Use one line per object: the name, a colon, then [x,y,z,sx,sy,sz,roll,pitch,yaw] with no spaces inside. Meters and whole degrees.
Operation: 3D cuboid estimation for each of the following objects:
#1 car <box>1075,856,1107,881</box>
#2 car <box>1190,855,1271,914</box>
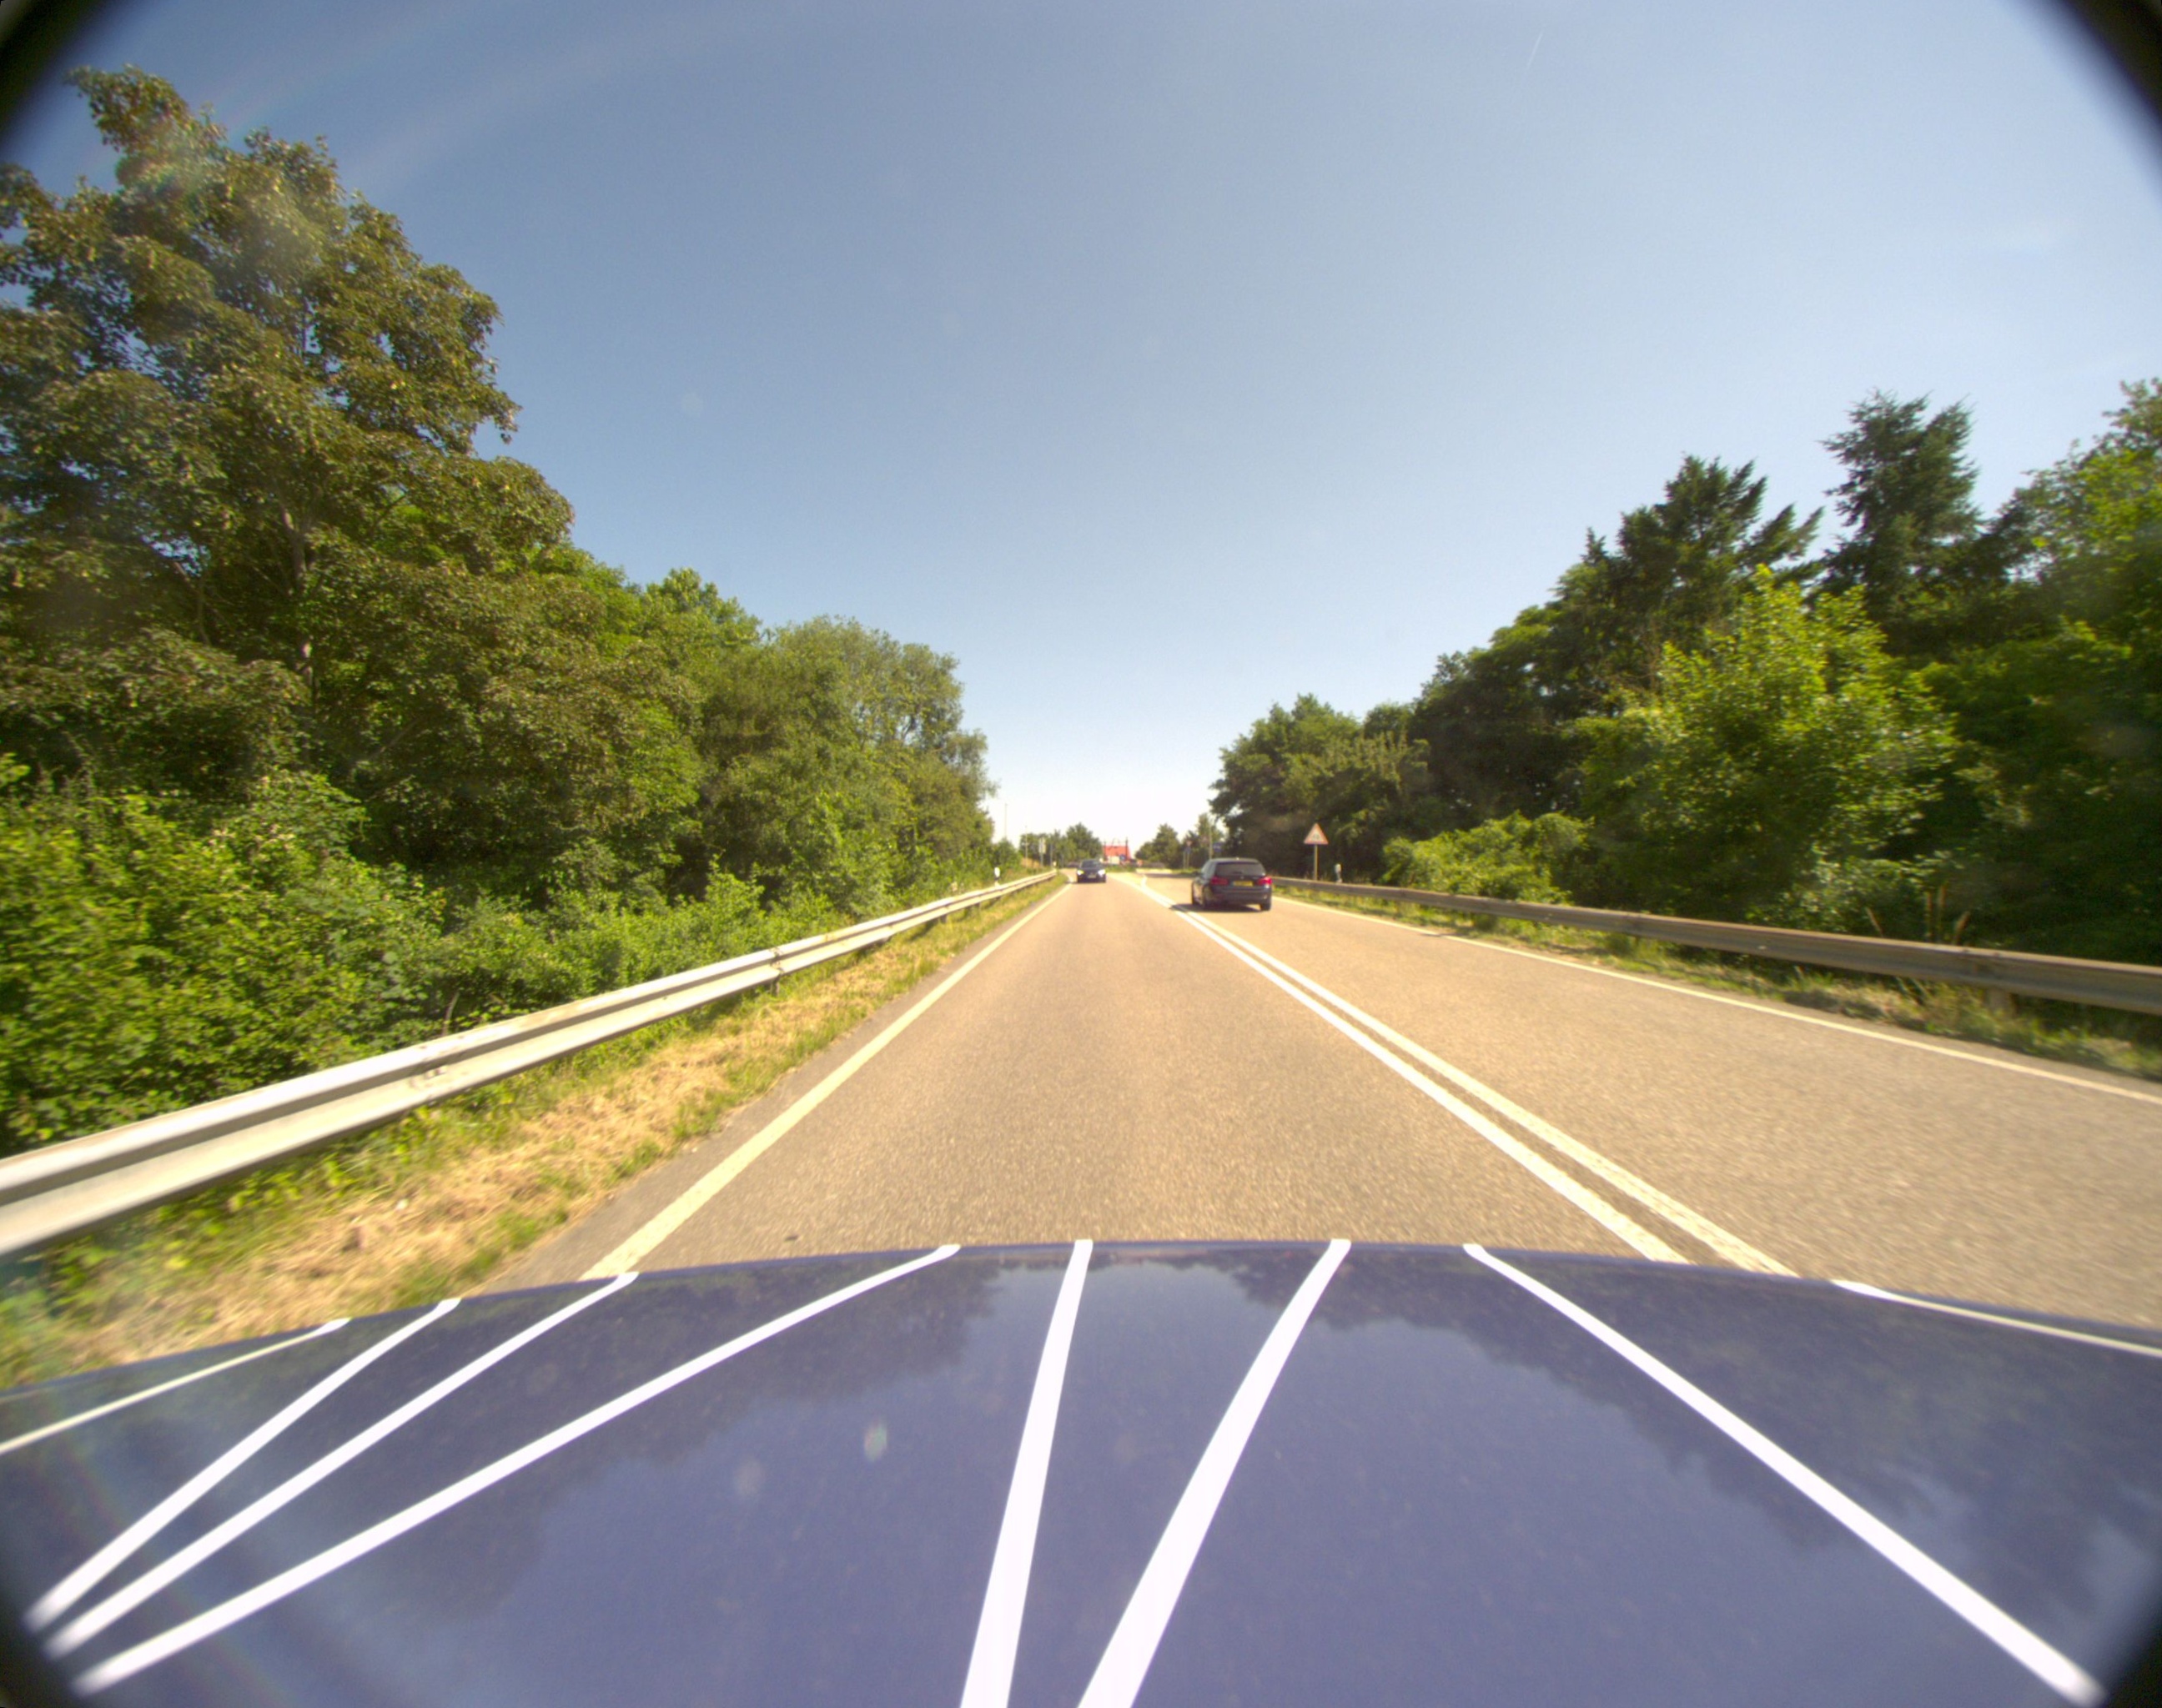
car: [0.636,0.842,45.626,1.806,1.390,4.180,0,0,2]
car: [4.134,0.795,21.622,1.611,1.464,4.220,-1,0,2]
